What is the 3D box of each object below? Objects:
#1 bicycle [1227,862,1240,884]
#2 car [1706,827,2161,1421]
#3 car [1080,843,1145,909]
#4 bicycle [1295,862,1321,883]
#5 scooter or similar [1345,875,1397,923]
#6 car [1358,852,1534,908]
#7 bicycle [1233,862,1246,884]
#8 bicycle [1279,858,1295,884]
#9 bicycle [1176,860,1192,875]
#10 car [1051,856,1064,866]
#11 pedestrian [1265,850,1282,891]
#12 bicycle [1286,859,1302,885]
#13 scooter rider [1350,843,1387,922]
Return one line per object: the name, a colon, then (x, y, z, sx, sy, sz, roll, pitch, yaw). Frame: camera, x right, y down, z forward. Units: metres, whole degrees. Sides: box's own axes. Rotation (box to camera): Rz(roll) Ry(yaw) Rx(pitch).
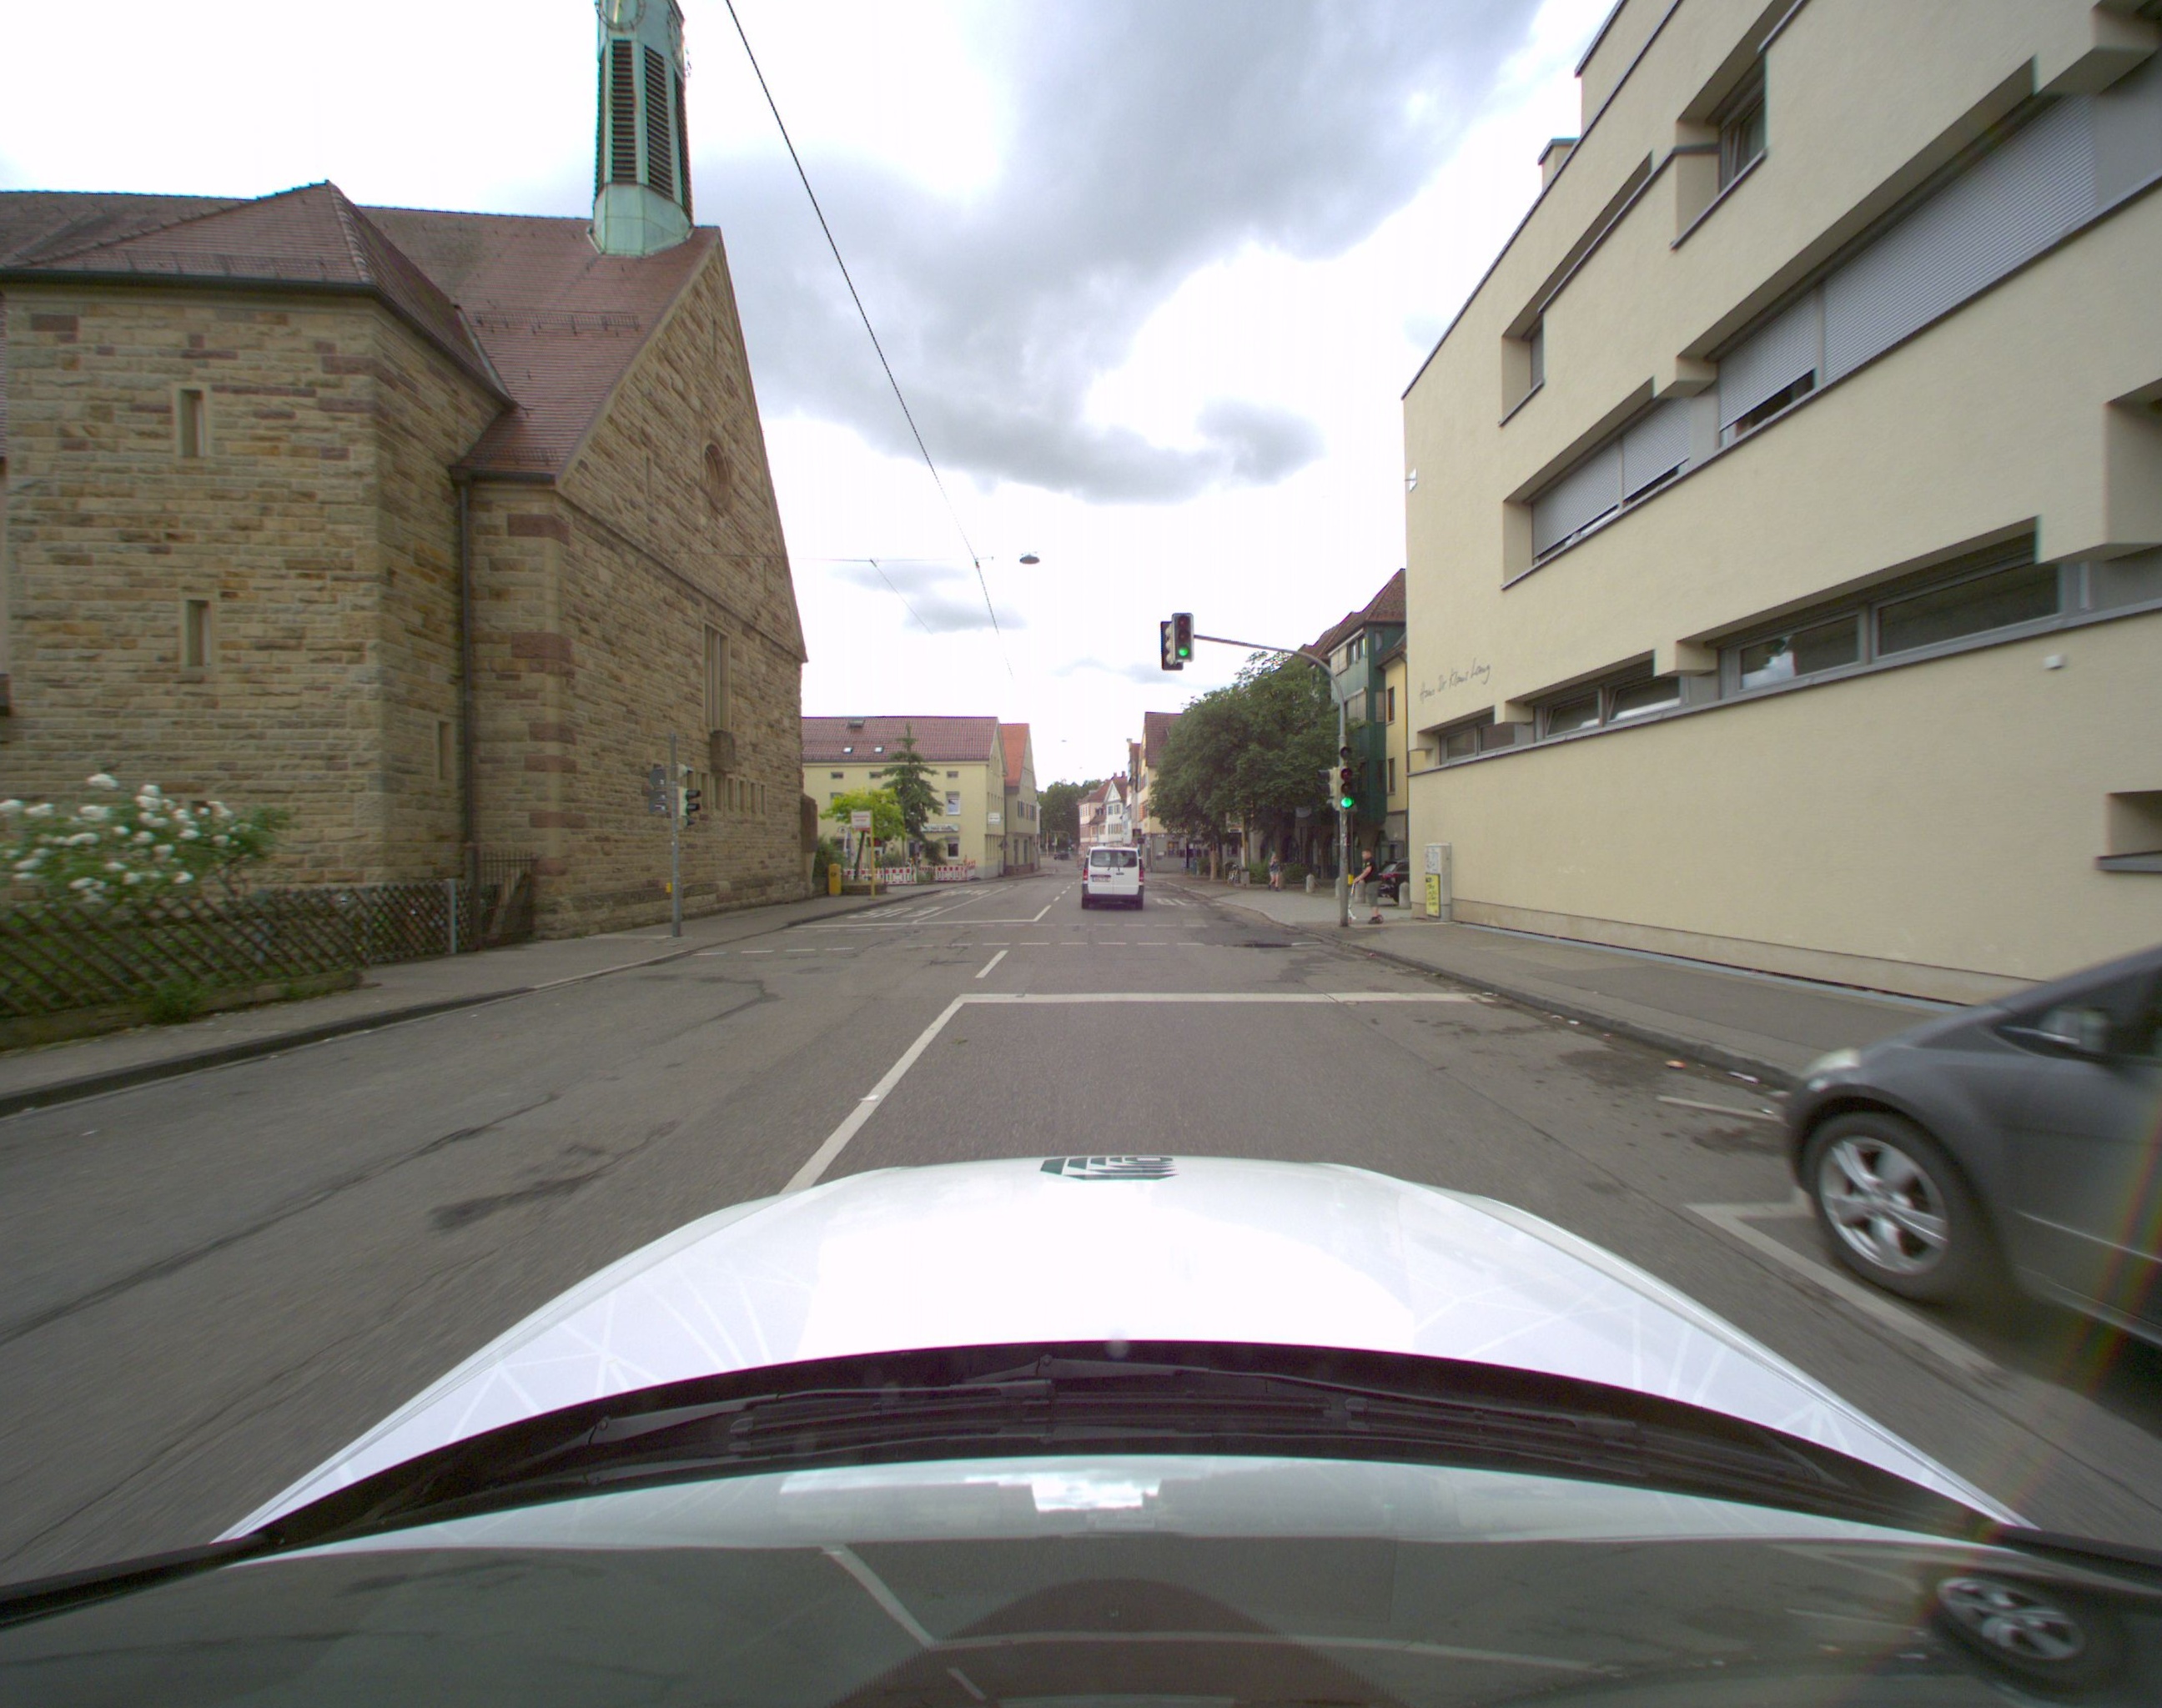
bicycle: (7.958, 0.976, 42.532, 0.332, 1.141, 1.959, 0, -1, 0)
car: (3.678, 0.698, 1.807, 1.706, 1.560, 3.785, -1, -1, 1)
car: (1.016, 0.678, 25.695, 1.865, 1.912, 4.002, -1, -1, 2)
bicycle: (11.739, 0.953, 42.136, 0.543, 1.069, 2.288, -1, -1, -3)
scooter or similar: (6.102, 0.945, 17.177, 0.661, 0.946, 0.817, -3, -2, -10)
car: (10.785, 0.746, 24.348, 4.486, 1.574, 1.856, 0, -1, 7)
bicycle: (8.296, 0.968, 42.637, 0.332, 1.142, 1.959, 0, -1, 0)
bicycle: (10.626, 0.850, 42.053, 0.332, 1.300, 1.959, 0, -1, 0)
bicycle: (7.944, 1.041, 62.903, 0.501, 1.106, 1.627, -1, -1, -19)
car: (-4.733, 1.426, 162.098, 1.935, 2.014, 3.986, 0, -1, -10)
pedestrian: (8.057, 0.687, 34.135, 0.598, 1.716, 0.862, -1, -1, 8)
bicycle: (11.001, 0.907, 42.147, 0.332, 1.300, 1.959, 0, -1, 0)
scooter rider: (6.085, 0.603, 17.257, 0.452, 1.632, 0.502, -2, -3, -13)
